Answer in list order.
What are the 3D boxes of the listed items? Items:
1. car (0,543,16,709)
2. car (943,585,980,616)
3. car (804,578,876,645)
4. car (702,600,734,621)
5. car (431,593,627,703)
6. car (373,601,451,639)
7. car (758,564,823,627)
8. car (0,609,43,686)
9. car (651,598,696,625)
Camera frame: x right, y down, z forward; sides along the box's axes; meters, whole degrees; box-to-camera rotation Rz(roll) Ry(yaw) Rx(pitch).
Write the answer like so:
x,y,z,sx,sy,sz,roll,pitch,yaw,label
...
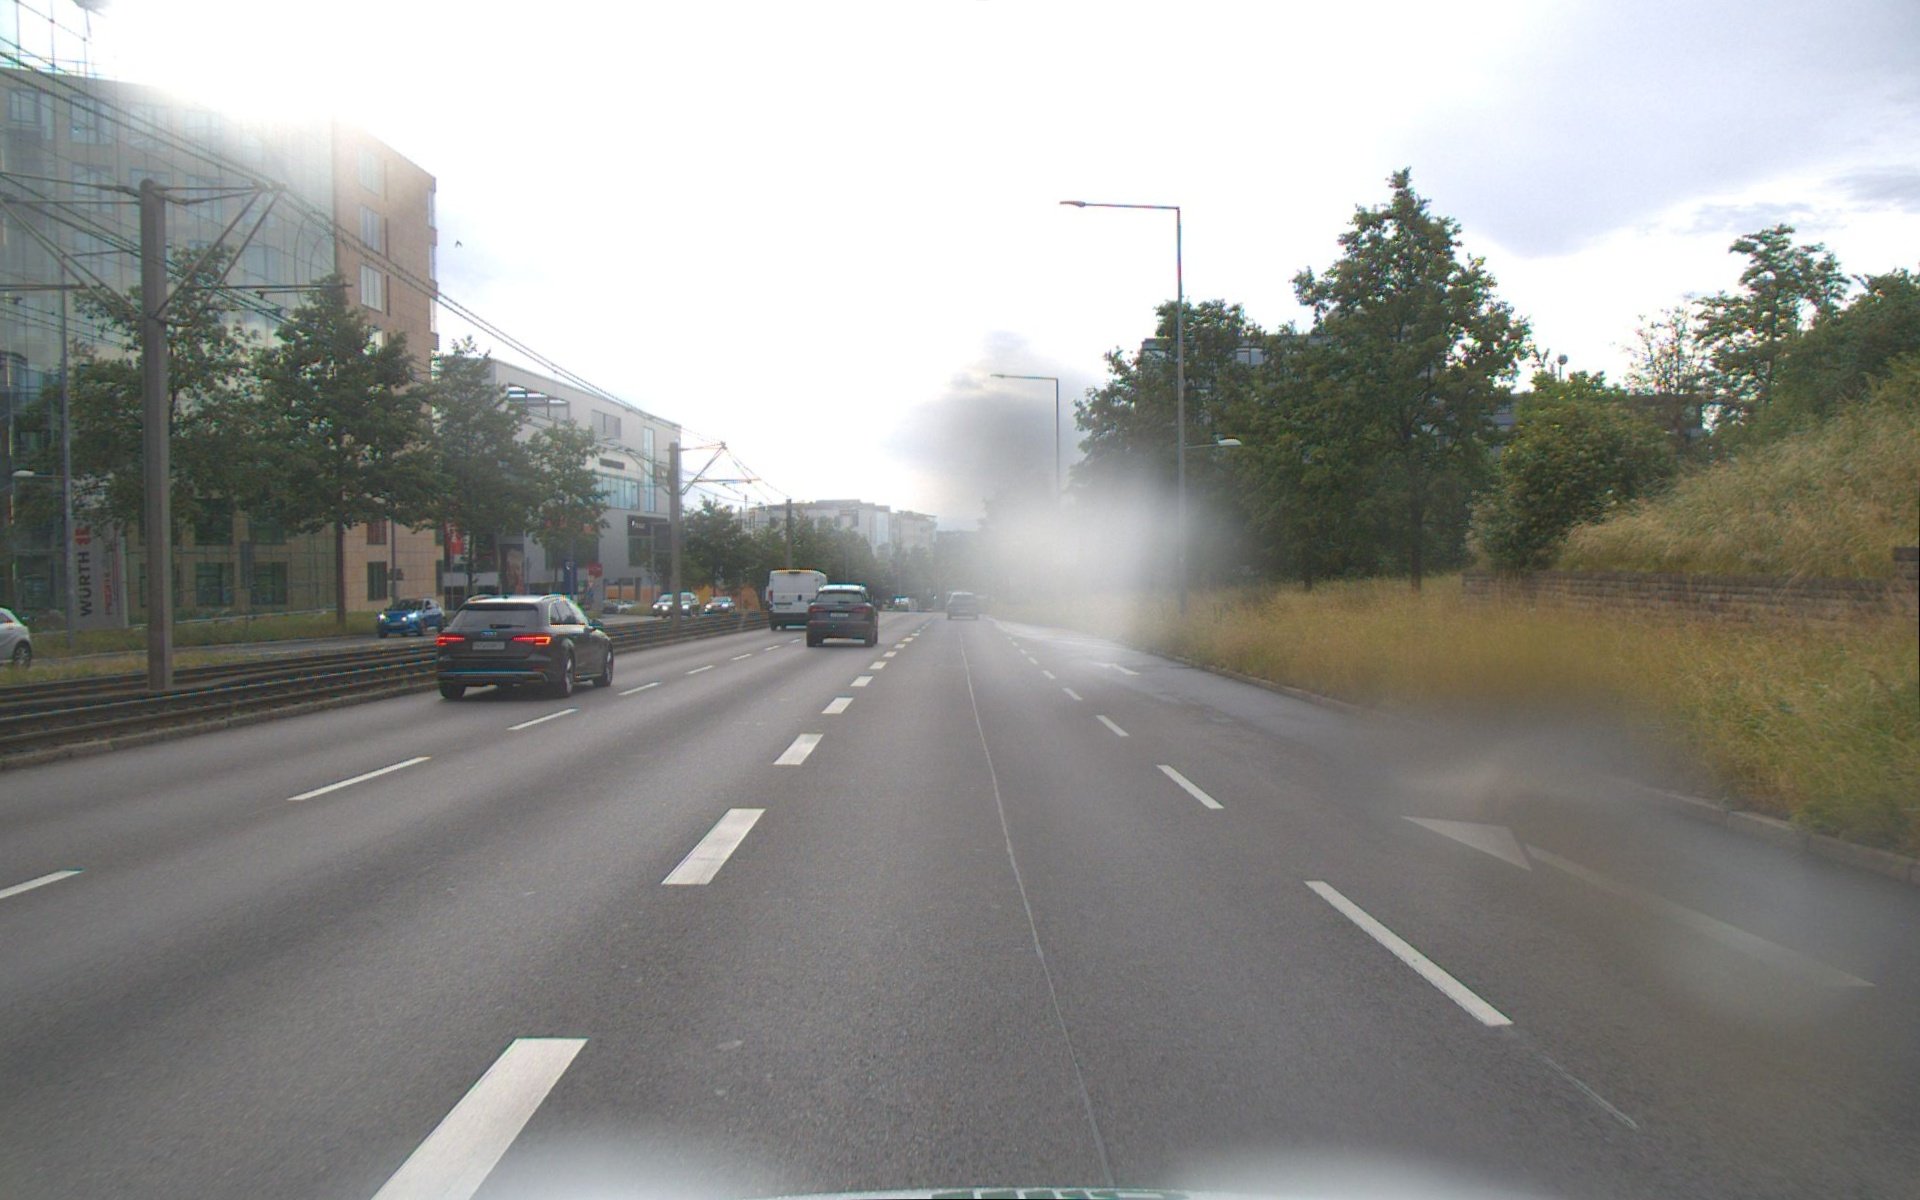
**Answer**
x,y,z,sx,sy,sz,roll,pitch,yaw,label
-17.737,0.437,26.136,2.334,2.867,5.612,1,0,1,car
0.077,0.040,90.504,1.754,1.619,3.997,-1,0,-3,car
-3.293,0.286,45.938,1.884,1.740,4.095,1,0,-3,car
-19.495,0.844,133.256,1.803,1.511,4.654,-4,1,0,car
-6.230,0.632,24.469,1.750,1.438,4.804,1,0,-2,car
-22.376,0.854,67.647,1.803,1.479,4.024,1,-1,0,car
-6.551,-0.169,64.380,2.222,2.325,4.757,1,0,-3,car
-20.591,0.985,33.239,1.724,1.560,4.816,1,0,-1,car
-16.698,0.683,96.599,1.735,1.528,4.200,1,-1,2,car
